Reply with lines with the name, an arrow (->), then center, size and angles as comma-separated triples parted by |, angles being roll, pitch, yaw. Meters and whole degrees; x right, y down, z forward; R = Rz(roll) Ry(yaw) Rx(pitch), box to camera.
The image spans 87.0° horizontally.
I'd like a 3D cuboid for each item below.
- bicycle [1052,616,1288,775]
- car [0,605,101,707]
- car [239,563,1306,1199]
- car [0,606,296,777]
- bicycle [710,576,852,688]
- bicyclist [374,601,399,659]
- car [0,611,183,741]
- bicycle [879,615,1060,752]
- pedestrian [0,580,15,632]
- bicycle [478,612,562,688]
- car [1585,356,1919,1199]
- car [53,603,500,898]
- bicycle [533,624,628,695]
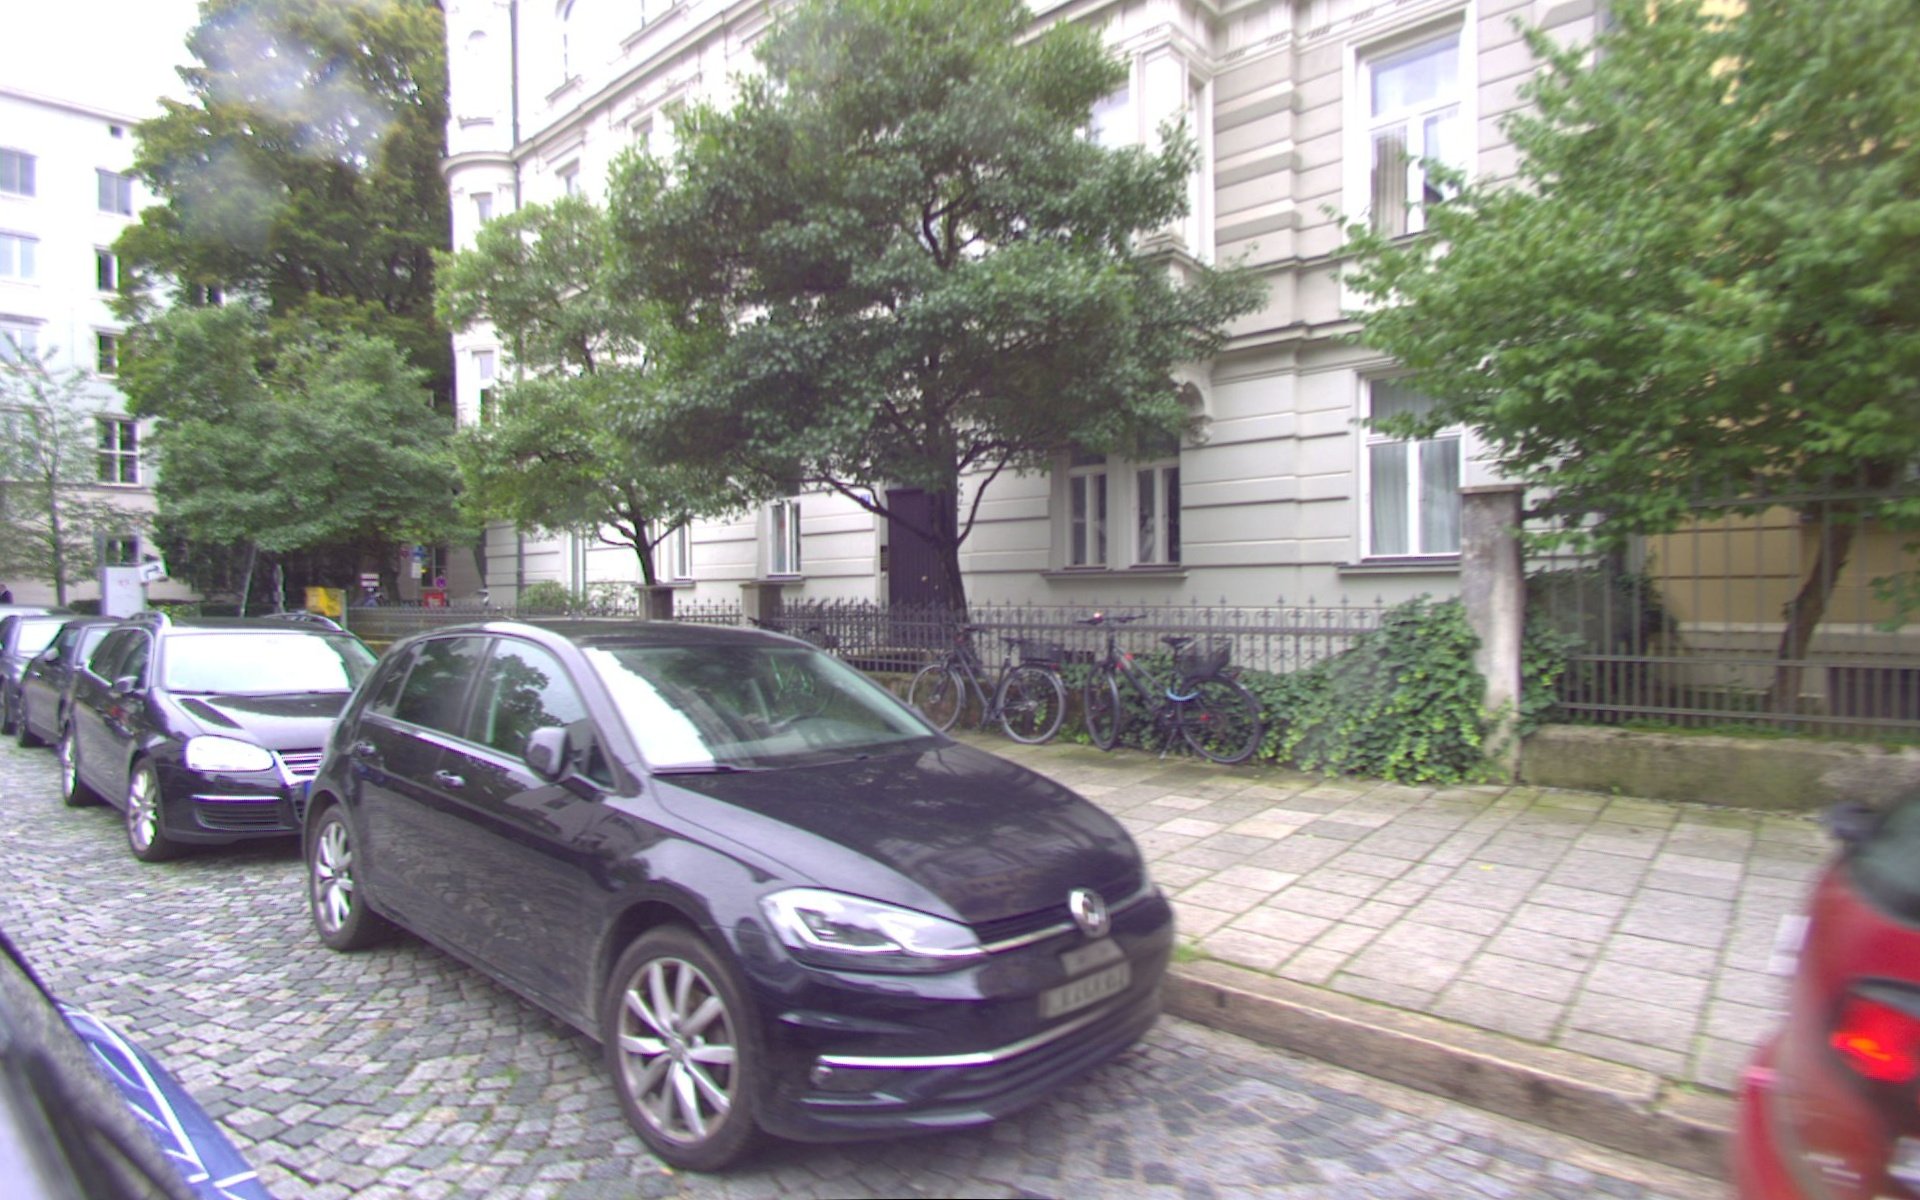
bicycle -> 1.578, 0.678, 7.828 | 1.759, 1.059, 0.468 | 0, 4, 42
car -> -16.387, 0.897, 17.466 | 4.279, 1.593, 1.722 | -1, -1, 40
car -> -1.199, 0.726, 4.177 | 4.640, 1.521, 1.799 | 0, -3, 41
car -> -8.884, 0.829, 10.949 | 4.130, 1.510, 1.722 | -1, -1, 40
bicycle -> -2.005, 0.326, 11.199 | 1.790, 1.132, 0.504 | 0, 4, 42
bicyclist -> -17.112, 0.880, 30.187 | 0.445, 1.703, 0.537 | 0, -1, 42
car -> -12.329, 0.910, 13.837 | 4.276, 1.510, 1.723 | -1, -1, 38
bicycle -> 0.050, 0.720, 9.285 | 1.790, 1.107, 0.429 | 0, 4, 42
pedestrian -> -35.810, 0.221, 37.764 | 0.656, 1.930, 0.864 | -3, 2, -40
bicycle -> -6.744, 0.736, 15.485 | 1.694, 1.059, 0.458 | 0, 4, 42
car -> 2.771, 0.595, 0.299 | 4.189, 1.598, 1.822 | -1, -1, 40
car -> -5.200, 0.795, 7.408 | 4.511, 1.510, 1.790 | -1, -1, 44
bicycle -> -5.384, 0.815, 14.313 | 1.790, 0.879, 0.434 | 0, 4, 42
